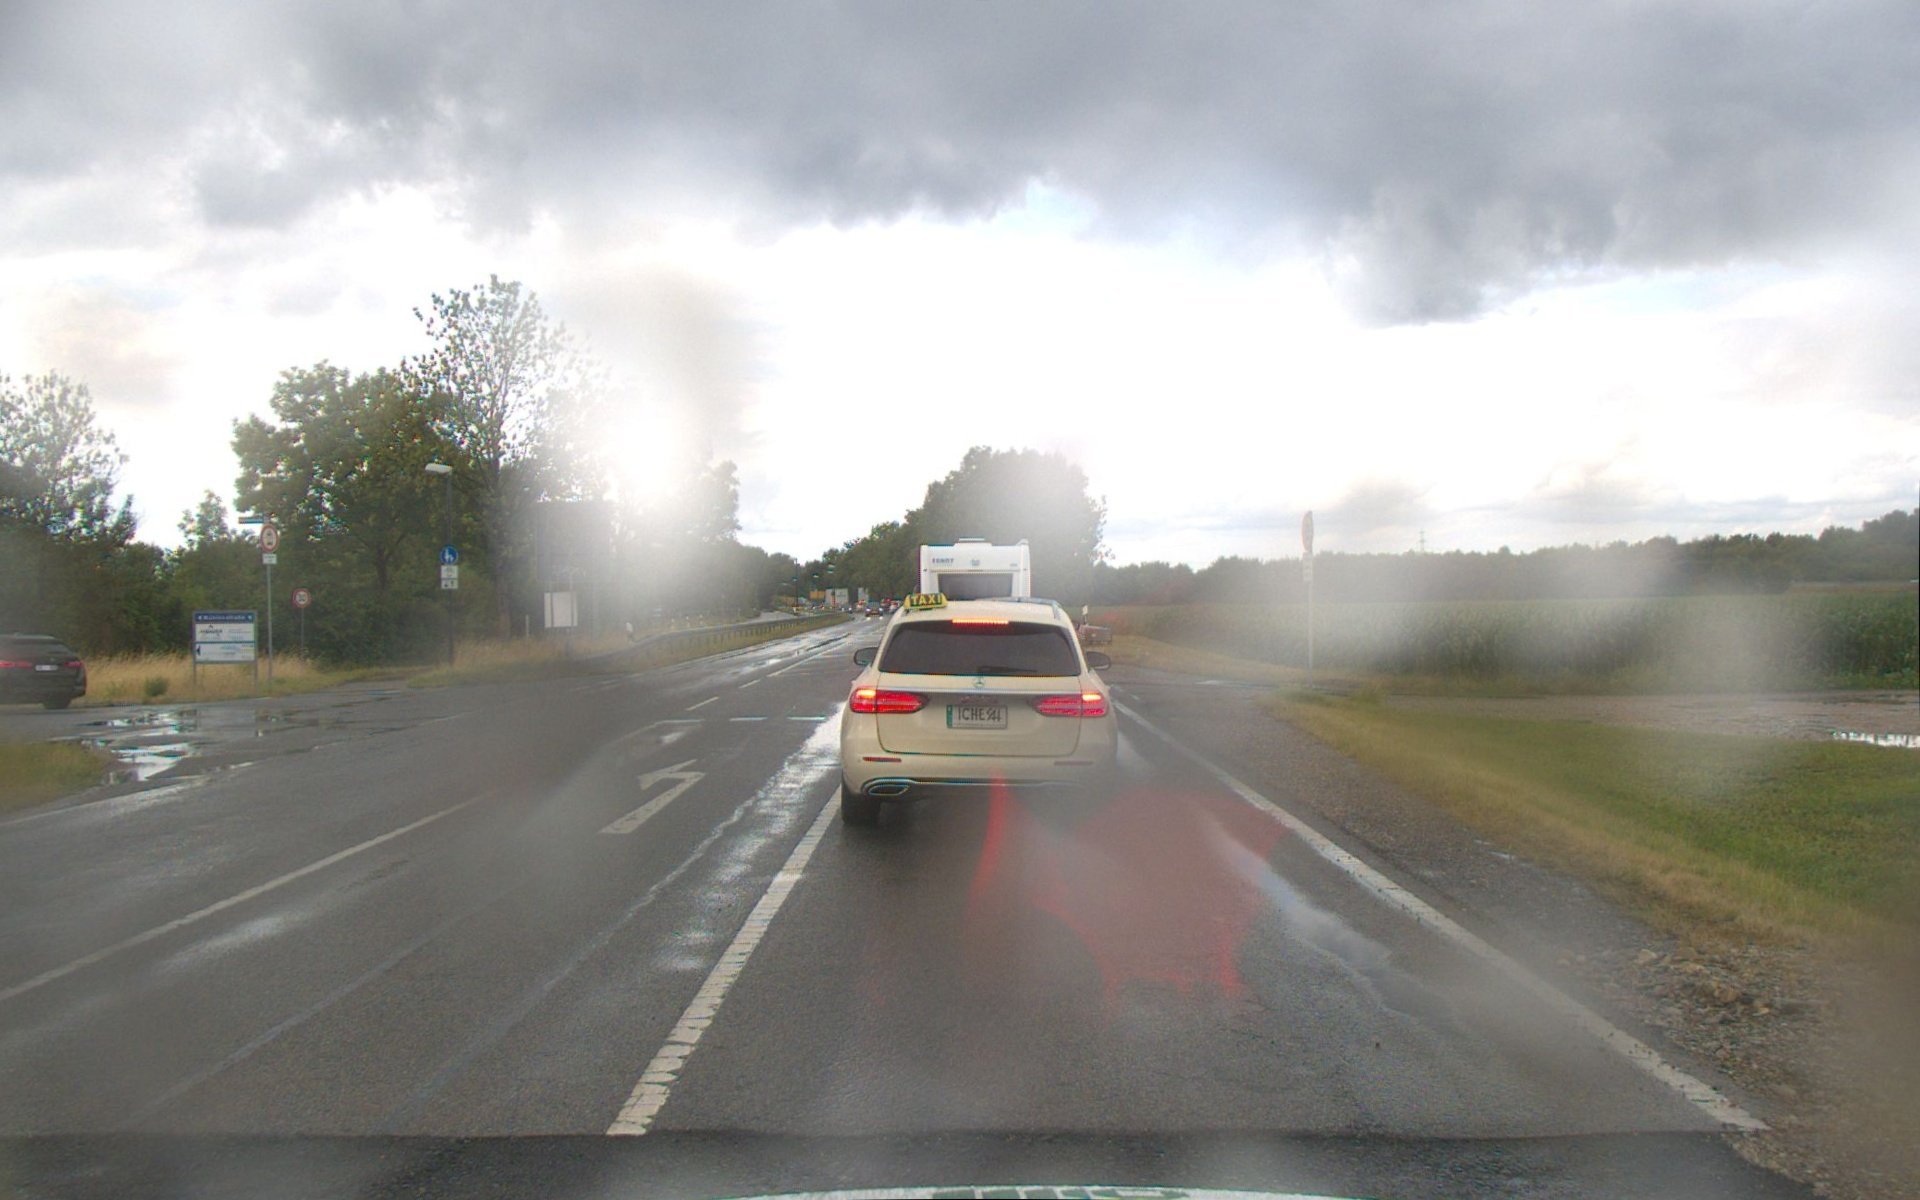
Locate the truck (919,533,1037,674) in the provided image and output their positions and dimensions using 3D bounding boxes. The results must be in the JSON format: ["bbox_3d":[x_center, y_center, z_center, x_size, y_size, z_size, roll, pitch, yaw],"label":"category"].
[{"bbox_3d":[0.309,0.063,36.698,2.315,2.776,7.312,-1,0,-1],"label":"truck"}]

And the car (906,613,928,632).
[{"bbox_3d":[-4.266,2.221,163.416,1.954,1.803,3.997,-1,0,-3],"label":"car"}]

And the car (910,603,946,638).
[{"bbox_3d":[-1.743,1.101,90.125,1.877,1.873,3.794,-1,0,-1],"label":"car"}]

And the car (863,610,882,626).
[{"bbox_3d":[-9.355,1.913,176.934,1.791,1.601,3.999,1,0,0],"label":"car"}]

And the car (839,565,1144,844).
[{"bbox_3d":[0.161,0.630,11.819,1.805,1.646,3.999,0,0,-1],"label":"car"}]

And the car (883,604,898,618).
[{"bbox_3d":[-8.538,1.362,203.495,1.714,1.691,3.669,-1,0,-4],"label":"car"}]

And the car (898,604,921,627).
[{"bbox_3d":[-4.093,1.219,134.984,1.755,1.808,3.720,-1,0,-1],"label":"car"}]

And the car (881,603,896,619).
[{"bbox_3d":[-9.228,1.417,213.264,1.858,1.928,3.840,-1,0,-4],"label":"car"}]

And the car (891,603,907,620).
[{"bbox_3d":[-6.945,1.282,189.392,1.705,1.892,3.784,-1,0,-1],"label":"car"}]

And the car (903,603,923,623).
[{"bbox_3d":[-4.320,1.166,152.249,1.841,1.792,3.833,-1,0,-1],"label":"car"}]

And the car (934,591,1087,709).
[{"bbox_3d":[0.623,0.658,23.354,1.953,1.488,3.999,1,0,-1],"label":"car"}]

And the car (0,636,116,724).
[{"bbox_3d":[-19.024,1.526,32.058,4.521,1.574,2.309,-1,-1,21],"label":"car"}]
